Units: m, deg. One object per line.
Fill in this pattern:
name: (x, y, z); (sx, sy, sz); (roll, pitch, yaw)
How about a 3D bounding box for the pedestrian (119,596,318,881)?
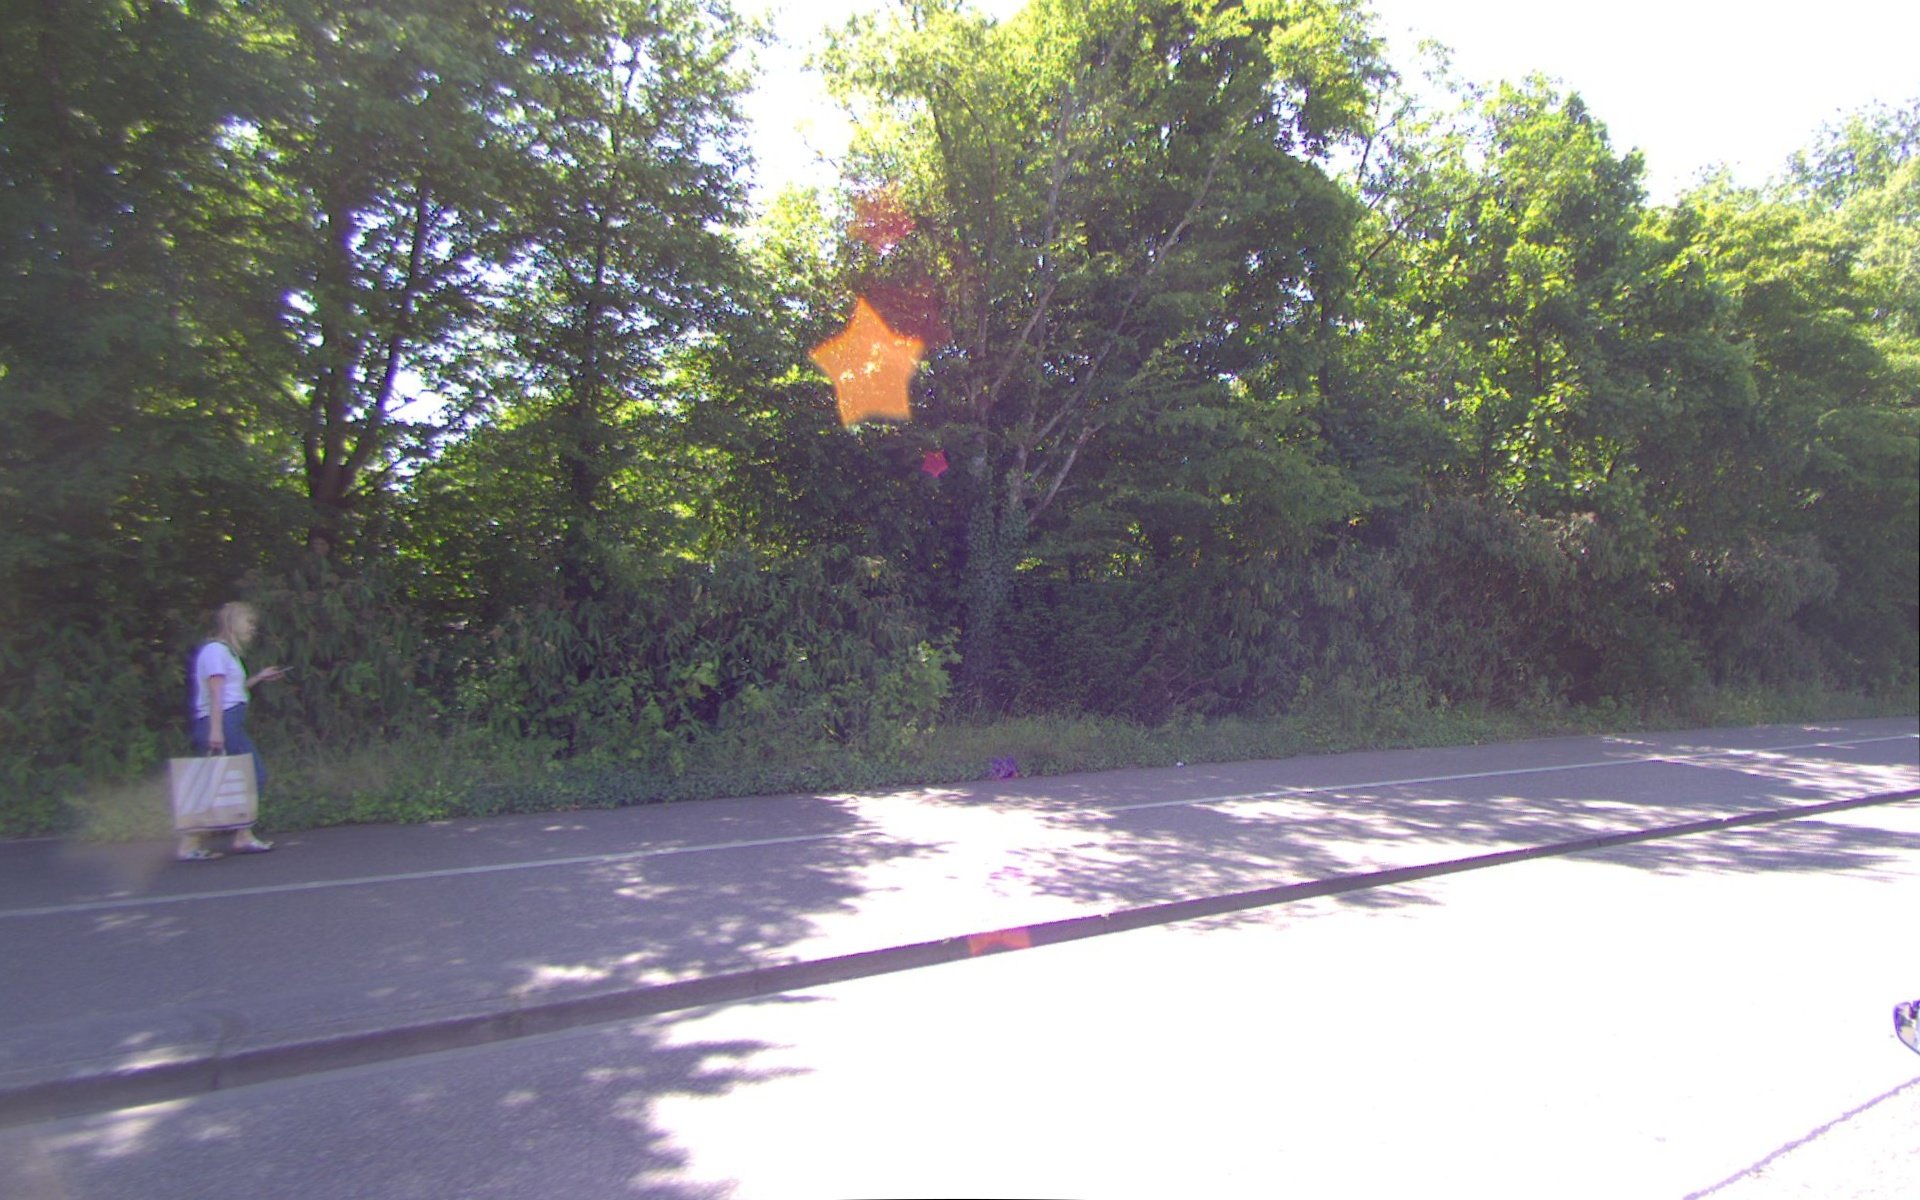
pedestrian: (-4.657, 0.816, 6.396); (0.875, 1.634, 0.927); (2, -2, -30)
